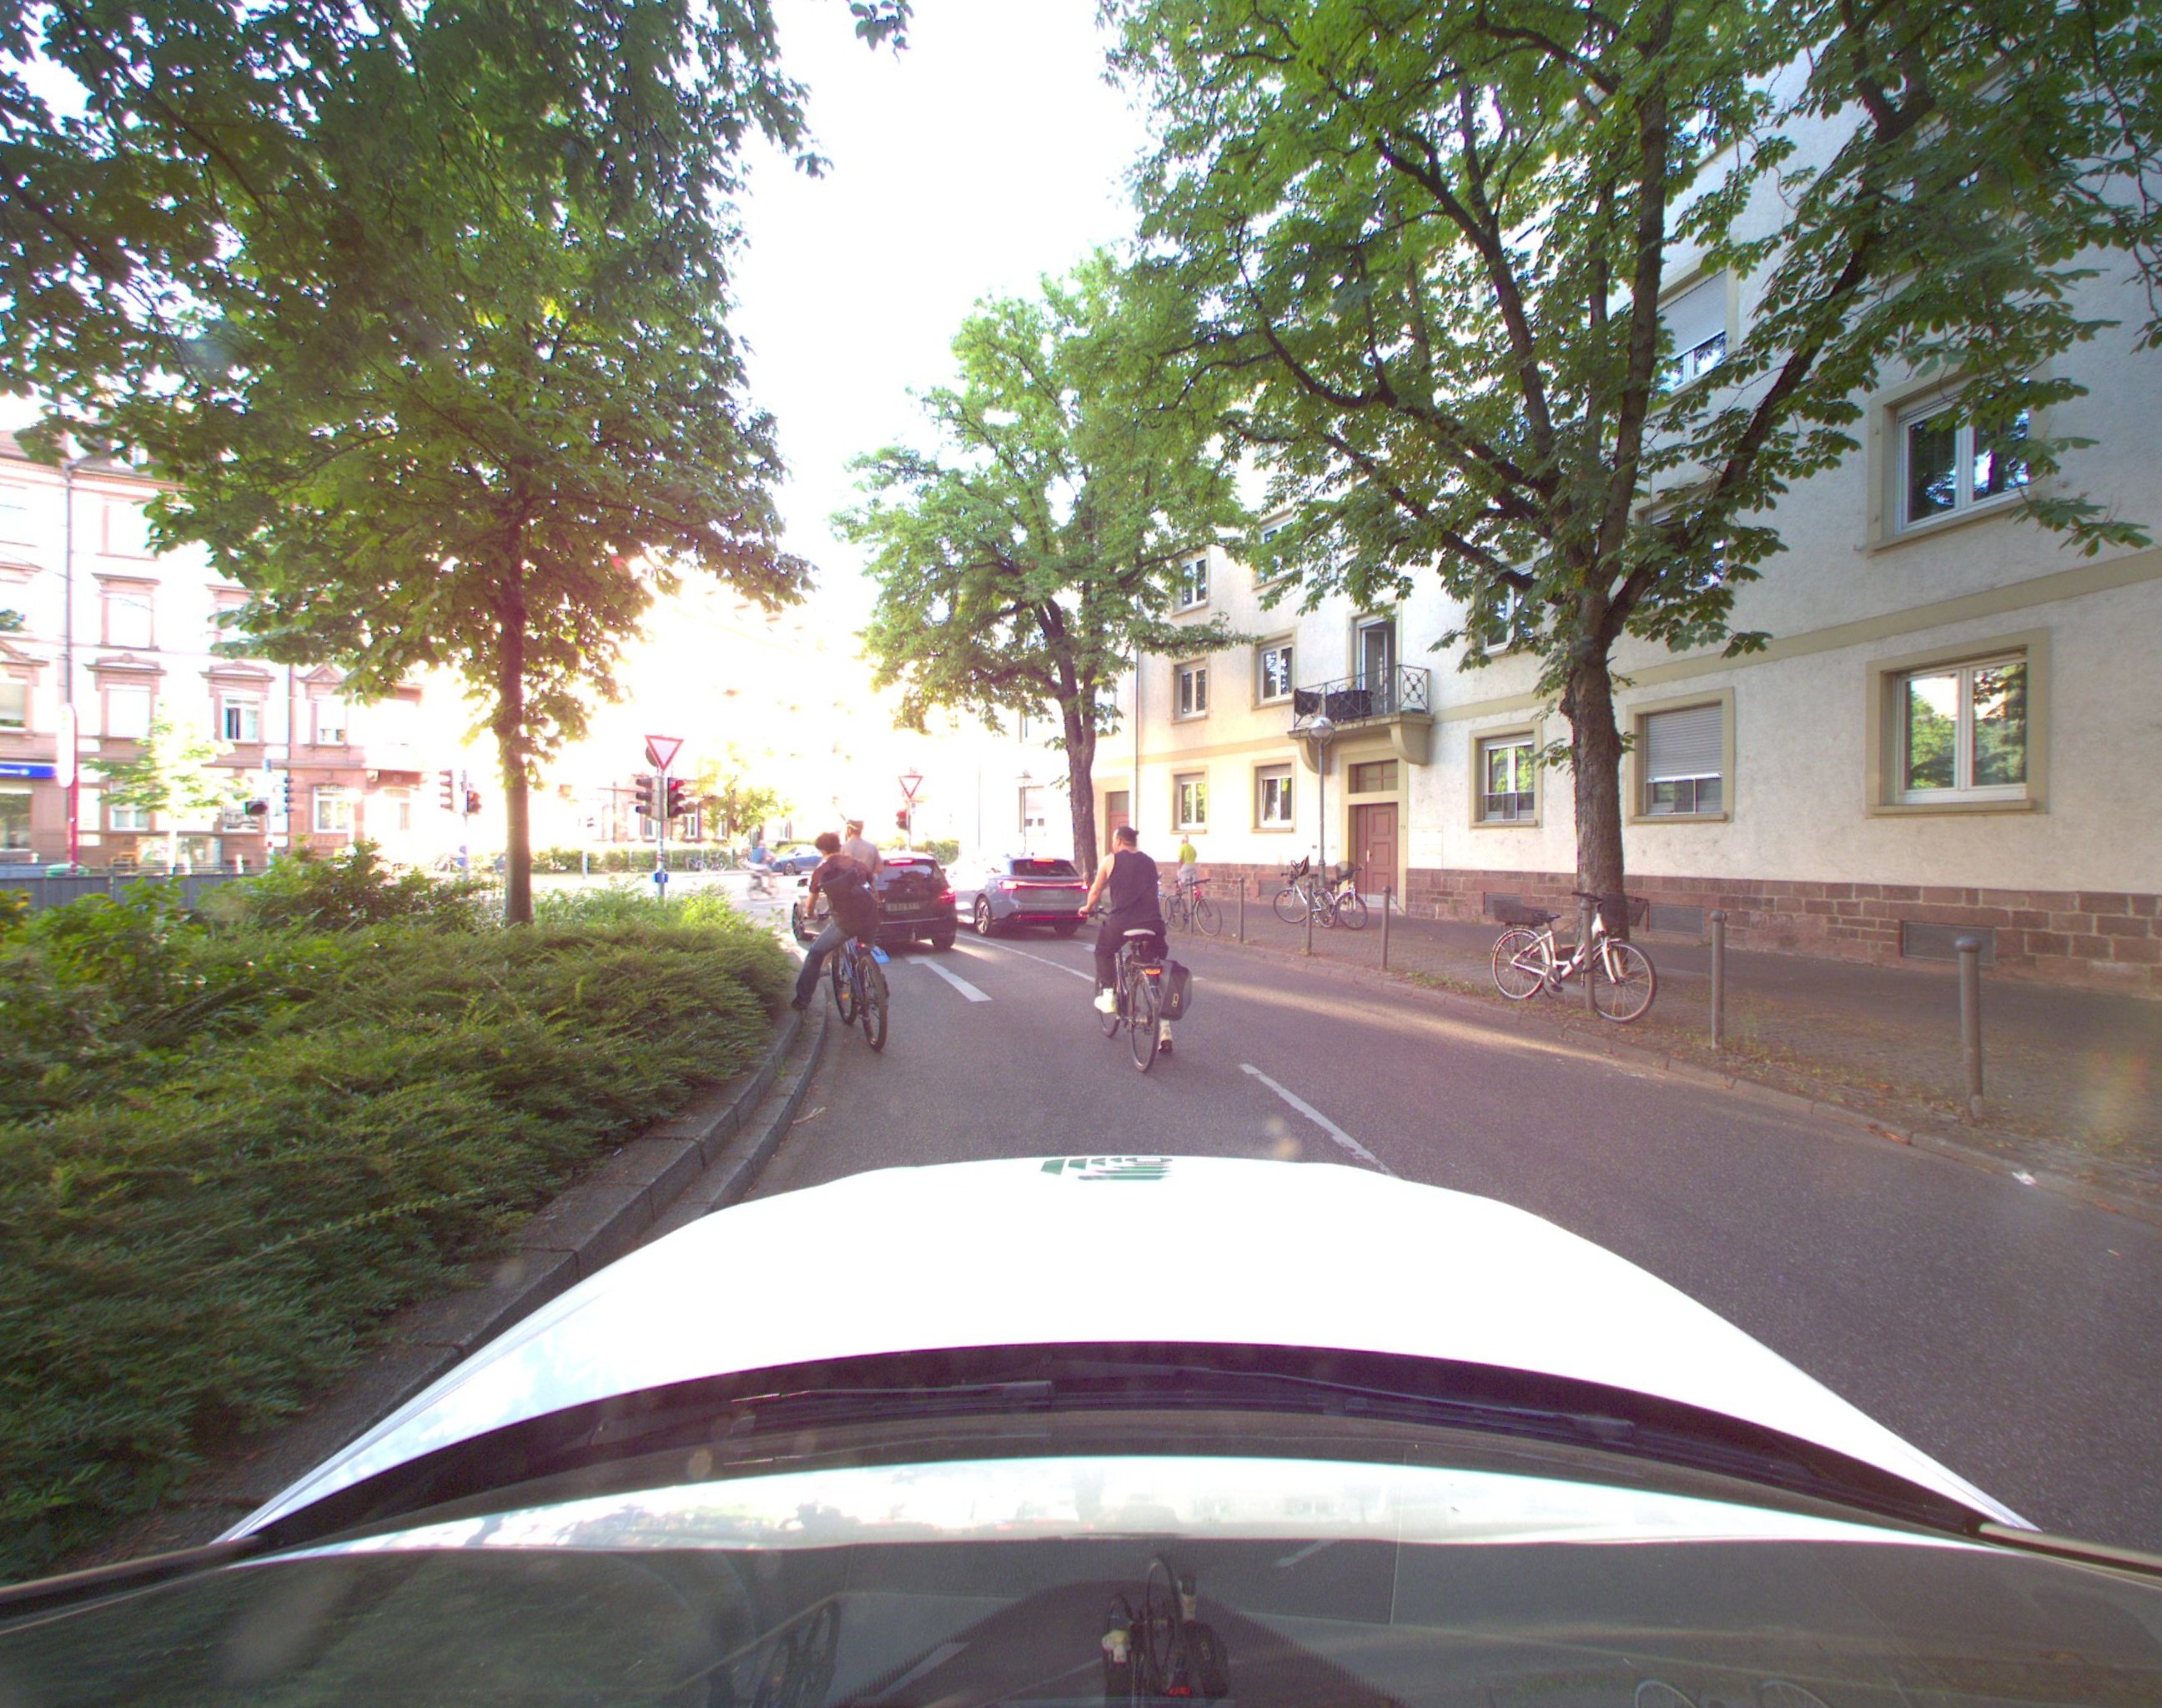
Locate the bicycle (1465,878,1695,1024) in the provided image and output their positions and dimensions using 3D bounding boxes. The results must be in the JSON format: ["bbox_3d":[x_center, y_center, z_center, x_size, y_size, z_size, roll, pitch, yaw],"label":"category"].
[{"bbox_3d":[4.551,0.818,7.623,0.514,1.095,1.962,-2,1,-18],"label":"bicycle"}]

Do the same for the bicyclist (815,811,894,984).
[{"bbox_3d":[-2.678,0.476,9.573,0.797,1.913,0.938,1,0,-21],"label":"bicyclist"}]

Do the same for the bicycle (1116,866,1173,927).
[{"bbox_3d":[1.234,0.804,16.091,0.482,1.063,1.625,-3,2,-20],"label":"bicycle"}]

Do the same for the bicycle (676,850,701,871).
[{"bbox_3d":[-21.411,0.354,44.452,0.438,1.107,1.241,1,0,25],"label":"bicycle"}]

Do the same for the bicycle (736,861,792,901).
[{"bbox_3d":[-9.486,0.795,24.470,0.530,1.107,1.974,0,0,13],"label":"bicycle"}]

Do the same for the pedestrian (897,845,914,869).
[{"bbox_3d":[-12.823,0.204,59.409,0.703,1.664,0.904,4,2,36],"label":"pedestrian"}]

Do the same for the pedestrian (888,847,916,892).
[{"bbox_3d":[-6.785,0.588,30.859,0.904,1.635,0.721,2,1,-19],"label":"pedestrian"}]

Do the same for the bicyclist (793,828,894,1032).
[{"bbox_3d":[-1.958,0.586,6.825,0.707,1.573,0.953,1,0,-11],"label":"bicyclist"}]

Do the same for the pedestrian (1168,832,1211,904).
[{"bbox_3d":[2.674,0.323,20.162,0.646,1.727,0.881,-3,2,-25],"label":"pedestrian"}]

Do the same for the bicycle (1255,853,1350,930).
[{"bbox_3d":[4.007,0.643,14.909,0.719,1.277,1.954,-1,1,-18],"label":"bicycle"}]

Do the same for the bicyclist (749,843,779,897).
[{"bbox_3d":[-9.500,0.464,24.426,0.525,1.598,0.677,0,0,13],"label":"bicyclist"}]

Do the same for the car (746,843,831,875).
[{"bbox_3d":[-15.639,0.236,43.816,1.926,1.650,4.432,0,0,19],"label":"car"}]

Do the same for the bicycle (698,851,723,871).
[{"bbox_3d":[-20.798,0.394,45.723,0.438,1.107,1.241,1,1,25],"label":"bicycle"}]

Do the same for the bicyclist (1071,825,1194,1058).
[{"bbox_3d":[0.372,0.616,6.348,0.687,1.656,0.985,-1,0,-13],"label":"bicyclist"}]

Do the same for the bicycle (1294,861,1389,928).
[{"bbox_3d":[4.718,0.696,14.908,0.669,1.107,1.955,1,0,-17],"label":"bicycle"}]

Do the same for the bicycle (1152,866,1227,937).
[{"bbox_3d":[1.896,0.805,14.513,0.528,1.107,1.728,-3,2,-21],"label":"bicycle"}]

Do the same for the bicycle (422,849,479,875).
[{"bbox_3d":[-28.126,0.350,36.373,1.975,1.107,0.438,2,-1,-38],"label":"bicycle"}]

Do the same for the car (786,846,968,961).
[{"bbox_3d":[-3.472,0.682,13.373,1.802,1.542,3.821,-2,1,-32],"label":"car"}]

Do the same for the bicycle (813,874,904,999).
[{"bbox_3d":[-2.622,0.865,9.430,0.813,1.184,2.211,0,0,-21],"label":"bicycle"}]

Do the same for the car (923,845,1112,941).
[{"bbox_3d":[-1.413,0.664,15.946,1.982,1.585,4.433,2,-1,-29],"label":"car"}]

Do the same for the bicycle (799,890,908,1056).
[{"bbox_3d":[-1.882,0.913,6.973,0.717,1.107,1.959,1,0,-11],"label":"bicycle"}]

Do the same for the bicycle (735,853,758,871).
[{"bbox_3d":[-19.768,0.458,48.134,0.438,1.038,1.240,1,1,24],"label":"bicycle"}]
